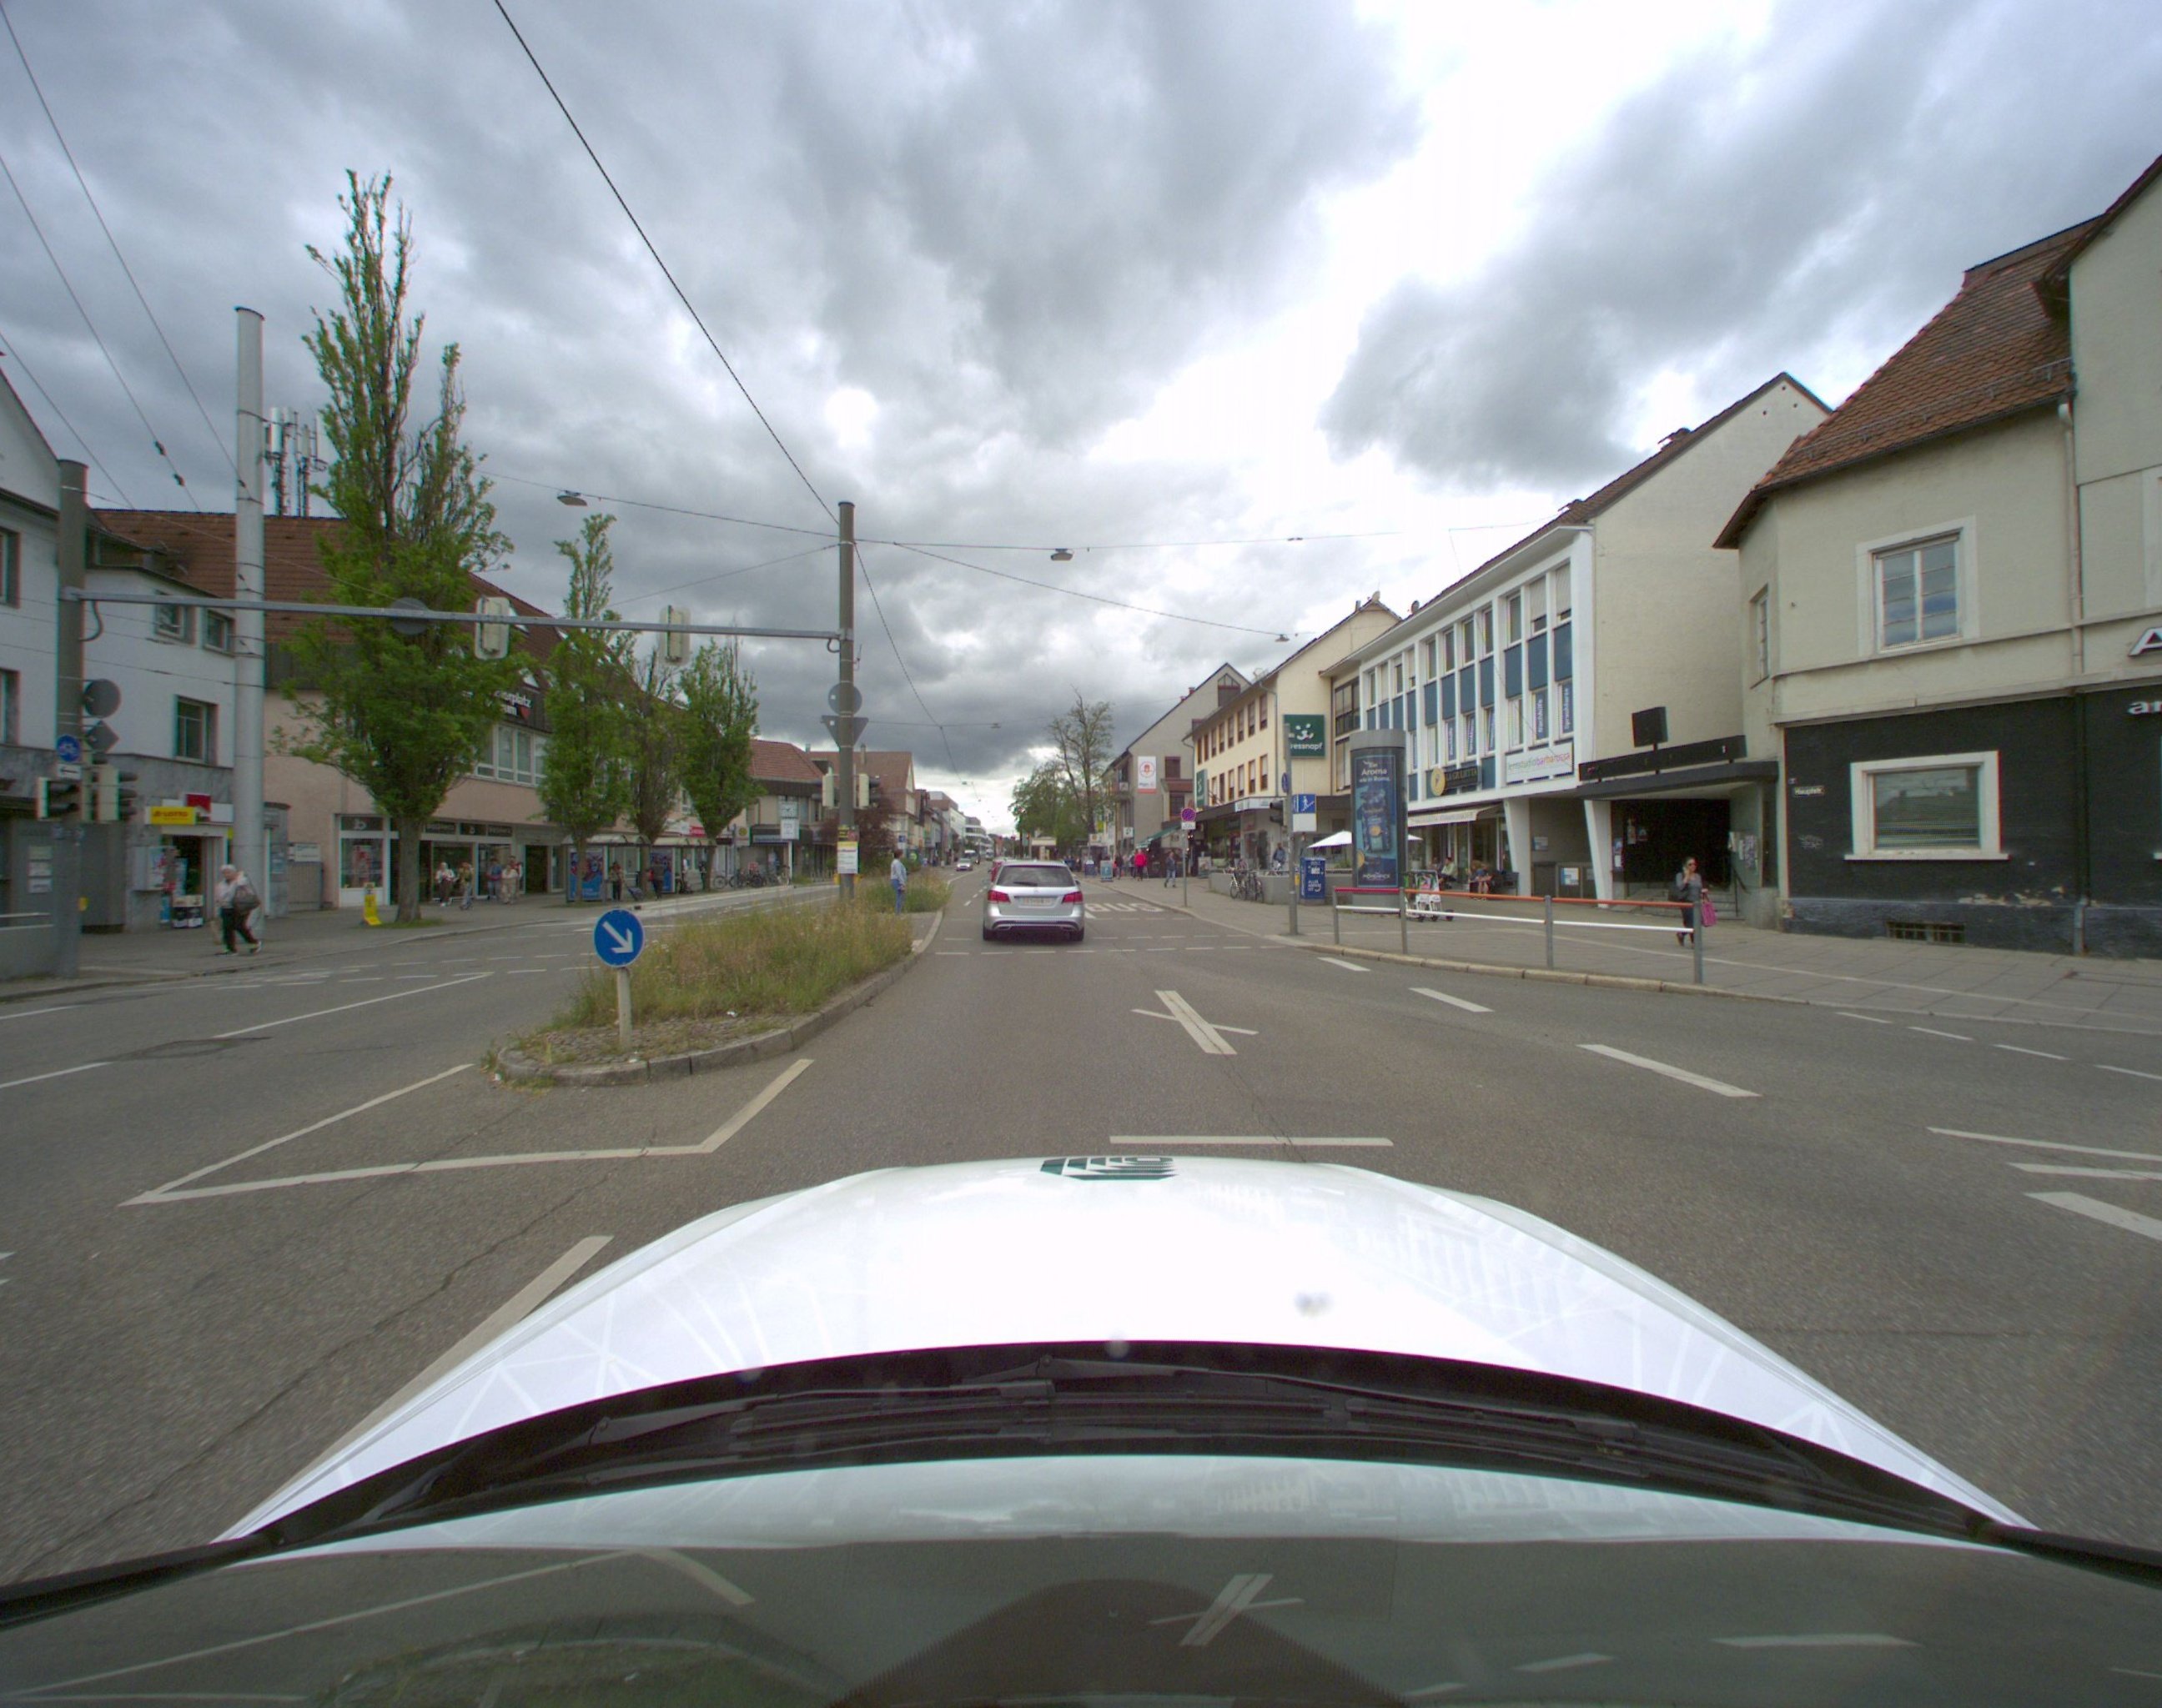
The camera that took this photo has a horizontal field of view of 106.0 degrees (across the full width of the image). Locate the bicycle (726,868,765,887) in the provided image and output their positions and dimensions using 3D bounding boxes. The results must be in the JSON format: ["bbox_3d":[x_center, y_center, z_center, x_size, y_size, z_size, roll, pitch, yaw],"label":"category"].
[{"bbox_3d":[-19.533,1.366,47.456,2.021,1.090,0.646,0,0,-15],"label":"bicycle"}]

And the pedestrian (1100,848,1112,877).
[{"bbox_3d":[1.496,0.511,48.469,0.610,1.678,0.614,3,0,-3],"label":"pedestrian"}]

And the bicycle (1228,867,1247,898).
[{"bbox_3d":[5.250,0.940,27.320,0.273,0.974,1.385,-1,0,-4],"label":"bicycle"}]

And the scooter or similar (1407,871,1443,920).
[{"bbox_3d":[8.436,0.999,19.999,0.314,1.132,1.206,-1,0,-4],"label":"scooter or similar"}]

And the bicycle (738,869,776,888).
[{"bbox_3d":[-19.364,1.461,48.683,2.021,1.090,0.646,0,0,-15],"label":"bicycle"}]

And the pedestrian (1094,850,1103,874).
[{"bbox_3d":[1.524,0.698,69.365,0.609,2.047,0.589,-2,-1,8],"label":"pedestrian"}]

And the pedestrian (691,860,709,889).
[{"bbox_3d":[-23.359,1.243,49.917,0.725,1.764,0.753,3,0,-7],"label":"pedestrian"}]

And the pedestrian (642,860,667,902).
[{"bbox_3d":[-17.132,1.095,32.750,0.583,1.652,0.715,0,0,5],"label":"pedestrian"}]

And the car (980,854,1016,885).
[{"bbox_3d":[-4.766,0.881,47.276,1.990,1.684,3.994,0,0,-4],"label":"car"}]

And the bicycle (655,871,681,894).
[{"bbox_3d":[-20.430,1.405,40.322,0.533,1.090,1.926,0,0,-7],"label":"bicycle"}]

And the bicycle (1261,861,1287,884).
[{"bbox_3d":[8.310,0.781,35.094,0.275,0.974,1.375,-1,0,-28],"label":"bicycle"}]

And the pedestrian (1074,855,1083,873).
[{"bbox_3d":[-0.258,0.897,72.775,0.538,1.634,0.582,3,-1,-29],"label":"pedestrian"}]

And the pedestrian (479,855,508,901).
[{"bbox_3d":[-22.665,0.911,31.421,0.585,1.712,0.613,3,0,-7],"label":"pedestrian"}]

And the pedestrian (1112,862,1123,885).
[{"bbox_3d":[2.570,1.390,56.946,0.667,1.567,0.494,1,1,15],"label":"pedestrian"}]

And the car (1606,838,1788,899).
[{"bbox_3d":[17.419,0.399,23.156,3.955,1.666,1.734,0,0,-2],"label":"car"}]

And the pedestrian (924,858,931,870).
[{"bbox_3d":[-21.219,1.361,112.688,0.817,1.634,0.977,2,-1,-10],"label":"pedestrian"}]

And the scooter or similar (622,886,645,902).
[{"bbox_3d":[-18.240,1.638,33.219,0.591,0.601,0.701,0,0,-6],"label":"scooter or similar"}]

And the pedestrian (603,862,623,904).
[{"bbox_3d":[-18.797,1.135,32.708,0.588,1.652,0.708,0,0,-23],"label":"pedestrian"}]

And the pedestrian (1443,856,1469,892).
[{"bbox_3d":[12.927,0.691,28.073,0.612,1.220,0.586,0,0,-8],"label":"pedestrian"}]

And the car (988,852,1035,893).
[{"bbox_3d":[-2.803,0.740,32.990,1.751,1.521,3.993,-1,-1,-5],"label":"car"}]

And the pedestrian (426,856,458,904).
[{"bbox_3d":[-22.365,0.903,28.498,0.585,1.634,0.613,3,0,-7],"label":"pedestrian"}]

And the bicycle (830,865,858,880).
[{"bbox_3d":[-18.568,1.451,63.855,2.021,1.090,0.646,0,0,-15],"label":"bicycle"}]

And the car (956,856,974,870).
[{"bbox_3d":[-13.879,1.086,97.486,1.871,1.506,4.336,-2,-1,-5],"label":"car"}]

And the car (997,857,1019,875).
[{"bbox_3d":[-6.827,1.106,76.332,1.990,1.684,3.994,0,0,-4],"label":"car"}]

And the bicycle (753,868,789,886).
[{"bbox_3d":[-19.120,1.414,50.297,2.021,1.090,0.646,0,0,-15],"label":"bicycle"}]

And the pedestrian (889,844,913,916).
[{"bbox_3d":[-4.230,0.598,19.150,0.503,1.634,0.661,-1,0,-11],"label":"pedestrian"}]

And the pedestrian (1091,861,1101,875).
[{"bbox_3d":[1.226,1.153,66.747,0.712,1.166,0.585,0,0,-12],"label":"pedestrian"}]

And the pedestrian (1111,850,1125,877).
[{"bbox_3d":[2.295,0.605,50.378,0.718,1.634,0.613,-1,-1,-8],"label":"pedestrian"}]

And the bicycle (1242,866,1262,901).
[{"bbox_3d":[5.422,0.910,25.840,0.273,1.053,1.385,-1,0,-4],"label":"bicycle"}]

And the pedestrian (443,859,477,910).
[{"bbox_3d":[-20.482,0.995,26.864,0.585,1.634,0.613,3,0,-7],"label":"pedestrian"}]

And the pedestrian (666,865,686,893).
[{"bbox_3d":[-19.513,1.197,39.239,0.710,1.364,0.587,0,0,-3],"label":"pedestrian"}]

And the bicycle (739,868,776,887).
[{"bbox_3d":[-19.602,1.403,49.356,2.021,1.090,0.646,0,0,-15],"label":"bicycle"}]

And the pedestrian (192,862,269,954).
[{"bbox_3d":[-15.651,0.982,15.012,0.701,1.634,0.612,3,0,-16],"label":"pedestrian"}]

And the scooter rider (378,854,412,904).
[{"bbox_3d":[-24.025,0.853,28.516,0.613,1.712,0.586,3,0,-9],"label":"scooter rider"}]

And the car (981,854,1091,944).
[{"bbox_3d":[-0.980,0.772,15.777,1.872,1.506,3.991,0,-1,-7],"label":"car"}]

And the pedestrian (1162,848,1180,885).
[{"bbox_3d":[4.019,0.562,36.478,0.686,1.634,0.852,-1,0,-2],"label":"pedestrian"}]

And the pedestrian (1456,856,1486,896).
[{"bbox_3d":[12.378,0.684,25.850,0.612,1.220,0.586,-2,0,-8],"label":"pedestrian"}]

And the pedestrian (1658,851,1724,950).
[{"bbox_3d":[10.486,0.782,14.007,0.590,1.622,0.736,3,-1,-37],"label":"pedestrian"}]

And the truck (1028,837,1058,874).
[{"bbox_3d":[-3.990,0.137,83.725,2.684,3.561,9.749,0,0,-5],"label":"truck"}]

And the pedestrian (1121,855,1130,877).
[{"bbox_3d":[3.293,0.870,60.577,0.585,1.634,0.614,0,0,-4],"label":"pedestrian"}]

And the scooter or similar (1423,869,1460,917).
[{"bbox_3d":[8.841,0.940,19.995,0.314,1.132,1.206,-1,0,-4],"label":"scooter or similar"}]

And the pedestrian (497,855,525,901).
[{"bbox_3d":[-21.806,0.901,31.154,0.585,1.712,0.613,3,0,-7],"label":"pedestrian"}]

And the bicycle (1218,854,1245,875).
[{"bbox_3d":[7.963,0.562,43.190,0.740,1.062,2.346,-2,0,-7],"label":"bicycle"}]

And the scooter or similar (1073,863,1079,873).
[{"bbox_3d":[-0.423,1.246,72.314,0.351,0.959,0.387,-1,-1,44],"label":"scooter or similar"}]

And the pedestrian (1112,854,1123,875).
[{"bbox_3d":[2.878,0.819,64.396,0.616,1.634,0.787,0,0,-27],"label":"pedestrian"}]

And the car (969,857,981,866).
[{"bbox_3d":[-22.826,1.601,175.018,2.064,1.738,4.688,-2,0,-2],"label":"car"}]

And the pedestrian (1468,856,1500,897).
[{"bbox_3d":[12.481,0.702,25.229,0.612,1.220,0.586,3,0,-8],"label":"pedestrian"}]

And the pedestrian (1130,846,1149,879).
[{"bbox_3d":[3.205,0.490,44.528,0.795,1.742,0.779,-2,-2,-11],"label":"pedestrian"}]

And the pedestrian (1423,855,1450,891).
[{"bbox_3d":[12.541,0.671,28.741,0.612,1.220,0.586,3,0,-8],"label":"pedestrian"}]

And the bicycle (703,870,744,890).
[{"bbox_3d":[-19.918,1.444,45.429,2.024,1.090,0.645,0,-1,-19],"label":"bicycle"}]

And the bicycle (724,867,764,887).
[{"bbox_3d":[-19.205,1.291,46.431,2.018,1.090,0.647,0,0,-10],"label":"bicycle"}]

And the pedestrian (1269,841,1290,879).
[{"bbox_3d":[8.546,0.254,35.133,0.665,1.634,0.799,0,0,-4],"label":"pedestrian"}]

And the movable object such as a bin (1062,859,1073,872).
[{"bbox_3d":[-1.496,1.276,90.252,1.141,1.339,1.374,-1,0,-3],"label":"movable object such as a bin"}]

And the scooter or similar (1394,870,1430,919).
[{"bbox_3d":[8.093,0.965,19.936,0.314,1.132,1.206,-1,0,-4],"label":"scooter or similar"}]

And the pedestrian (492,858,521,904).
[{"bbox_3d":[-21.074,0.979,29.876,0.585,1.634,0.613,3,0,-7],"label":"pedestrian"}]

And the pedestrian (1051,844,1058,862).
[{"bbox_3d":[-2.555,-0.100,78.213,0.613,1.780,0.586,-1,-2,-9],"label":"pedestrian"}]

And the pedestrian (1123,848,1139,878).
[{"bbox_3d":[2.981,0.537,48.525,0.682,1.742,0.779,-2,-2,-10],"label":"pedestrian"}]
